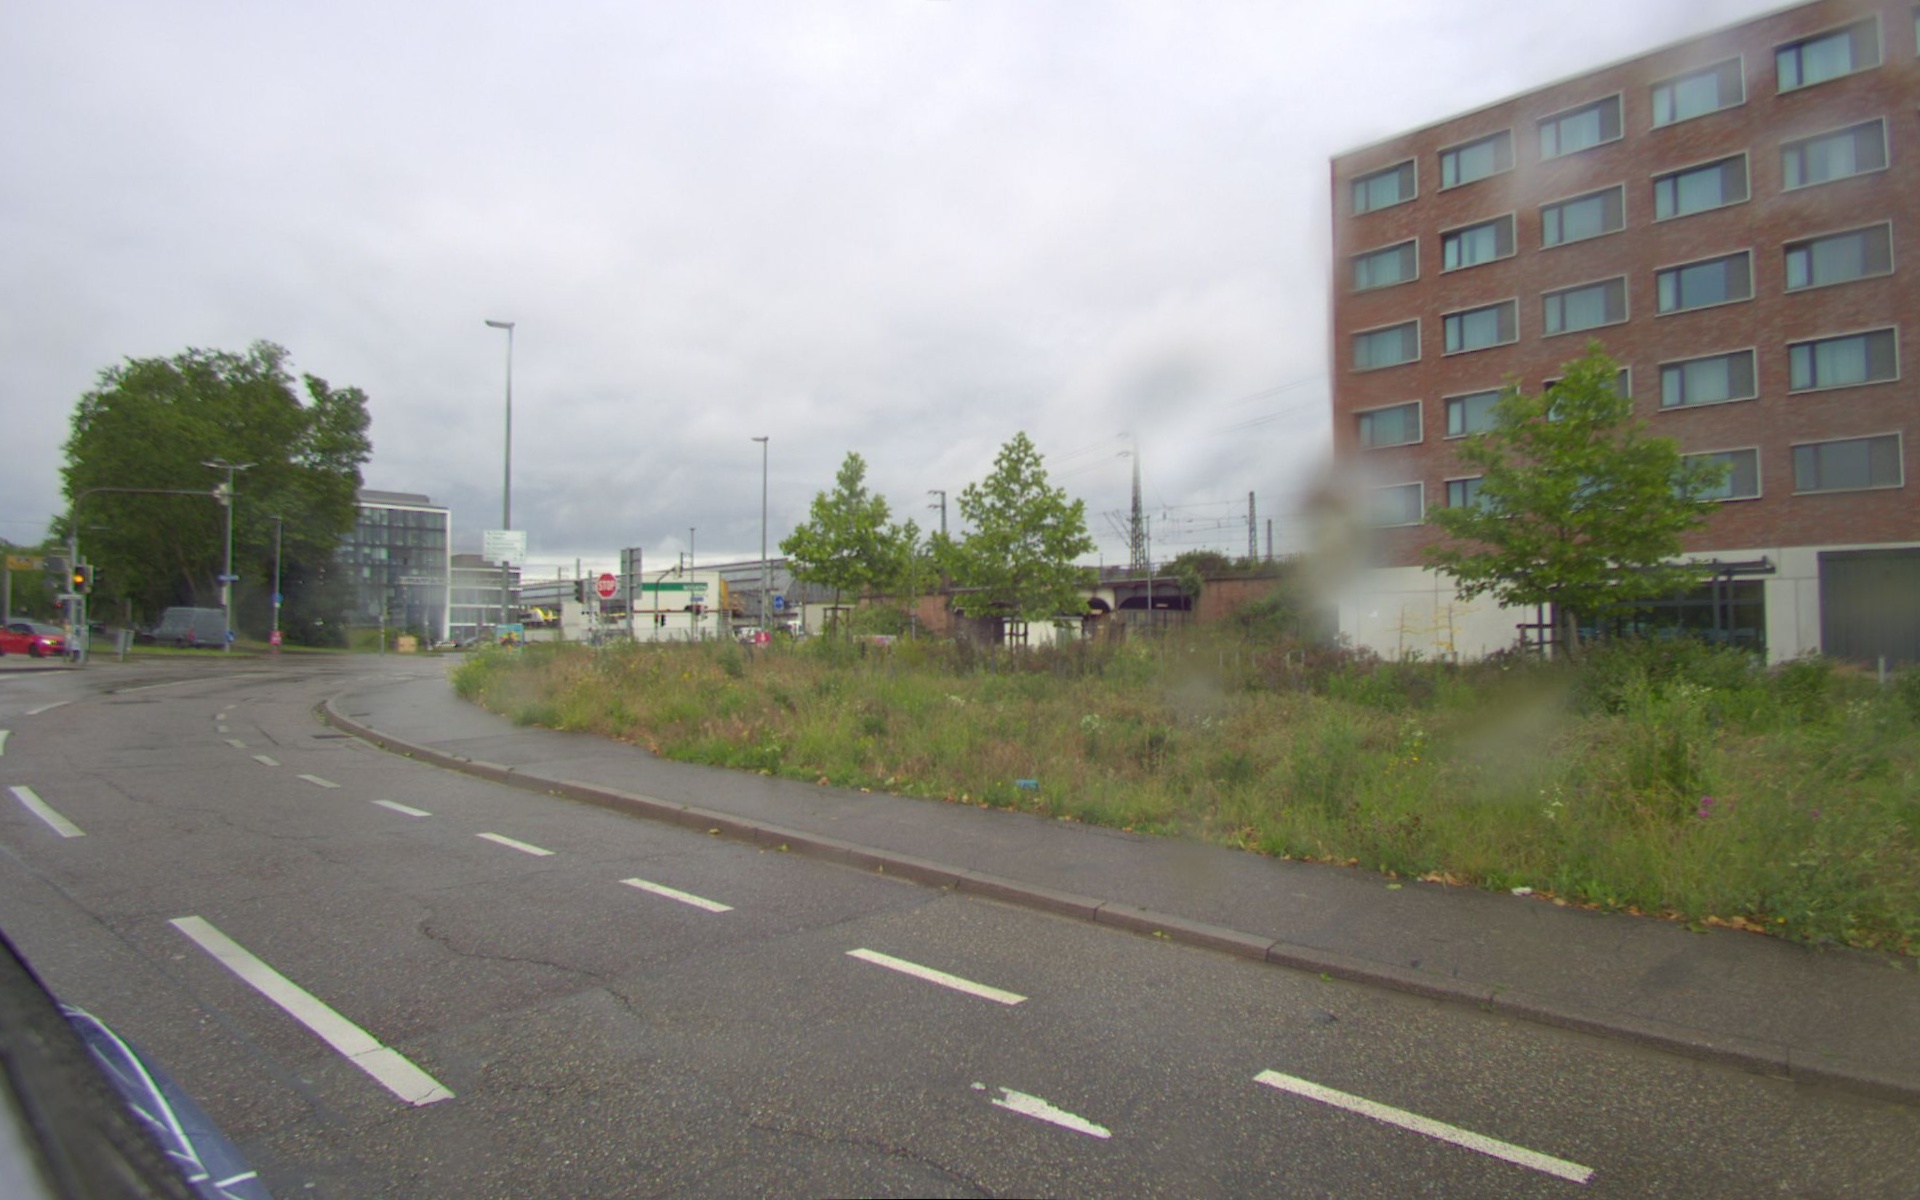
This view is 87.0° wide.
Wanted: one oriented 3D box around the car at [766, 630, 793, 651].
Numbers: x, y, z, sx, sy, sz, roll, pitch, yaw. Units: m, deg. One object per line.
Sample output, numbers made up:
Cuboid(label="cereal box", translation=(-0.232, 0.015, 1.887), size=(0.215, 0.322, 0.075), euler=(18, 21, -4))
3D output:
Cuboid(label="car", translation=(-18.704, 4.144, 104.609), size=(1.965, 2.029, 4.013), euler=(0, -1, -22))

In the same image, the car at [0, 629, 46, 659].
Cuboid(label="car", translation=(-45.509, 2.151, 48.844), size=(4.001, 1.392, 1.720), euler=(-2, -4, 44))

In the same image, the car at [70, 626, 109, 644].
Cuboid(label="car", translation=(-82.075, 3.298, 95.399), size=(3.994, 1.654, 1.975), euler=(-1, -3, 38))

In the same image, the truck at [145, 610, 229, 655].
Cuboid(label="truck", translation=(-46.882, 1.965, 61.313), size=(6.962, 2.639, 2.066), euler=(-1, -3, 35))

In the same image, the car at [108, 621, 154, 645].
Cuboid(label="car", translation=(-56.823, 2.295, 69.346), size=(3.525, 1.463, 1.629), euler=(-4, -5, 37))

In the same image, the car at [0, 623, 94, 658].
Cuboid(label="car", translation=(-37.485, 1.629, 41.173), size=(3.970, 1.392, 1.733), euler=(-1, -2, 20))
